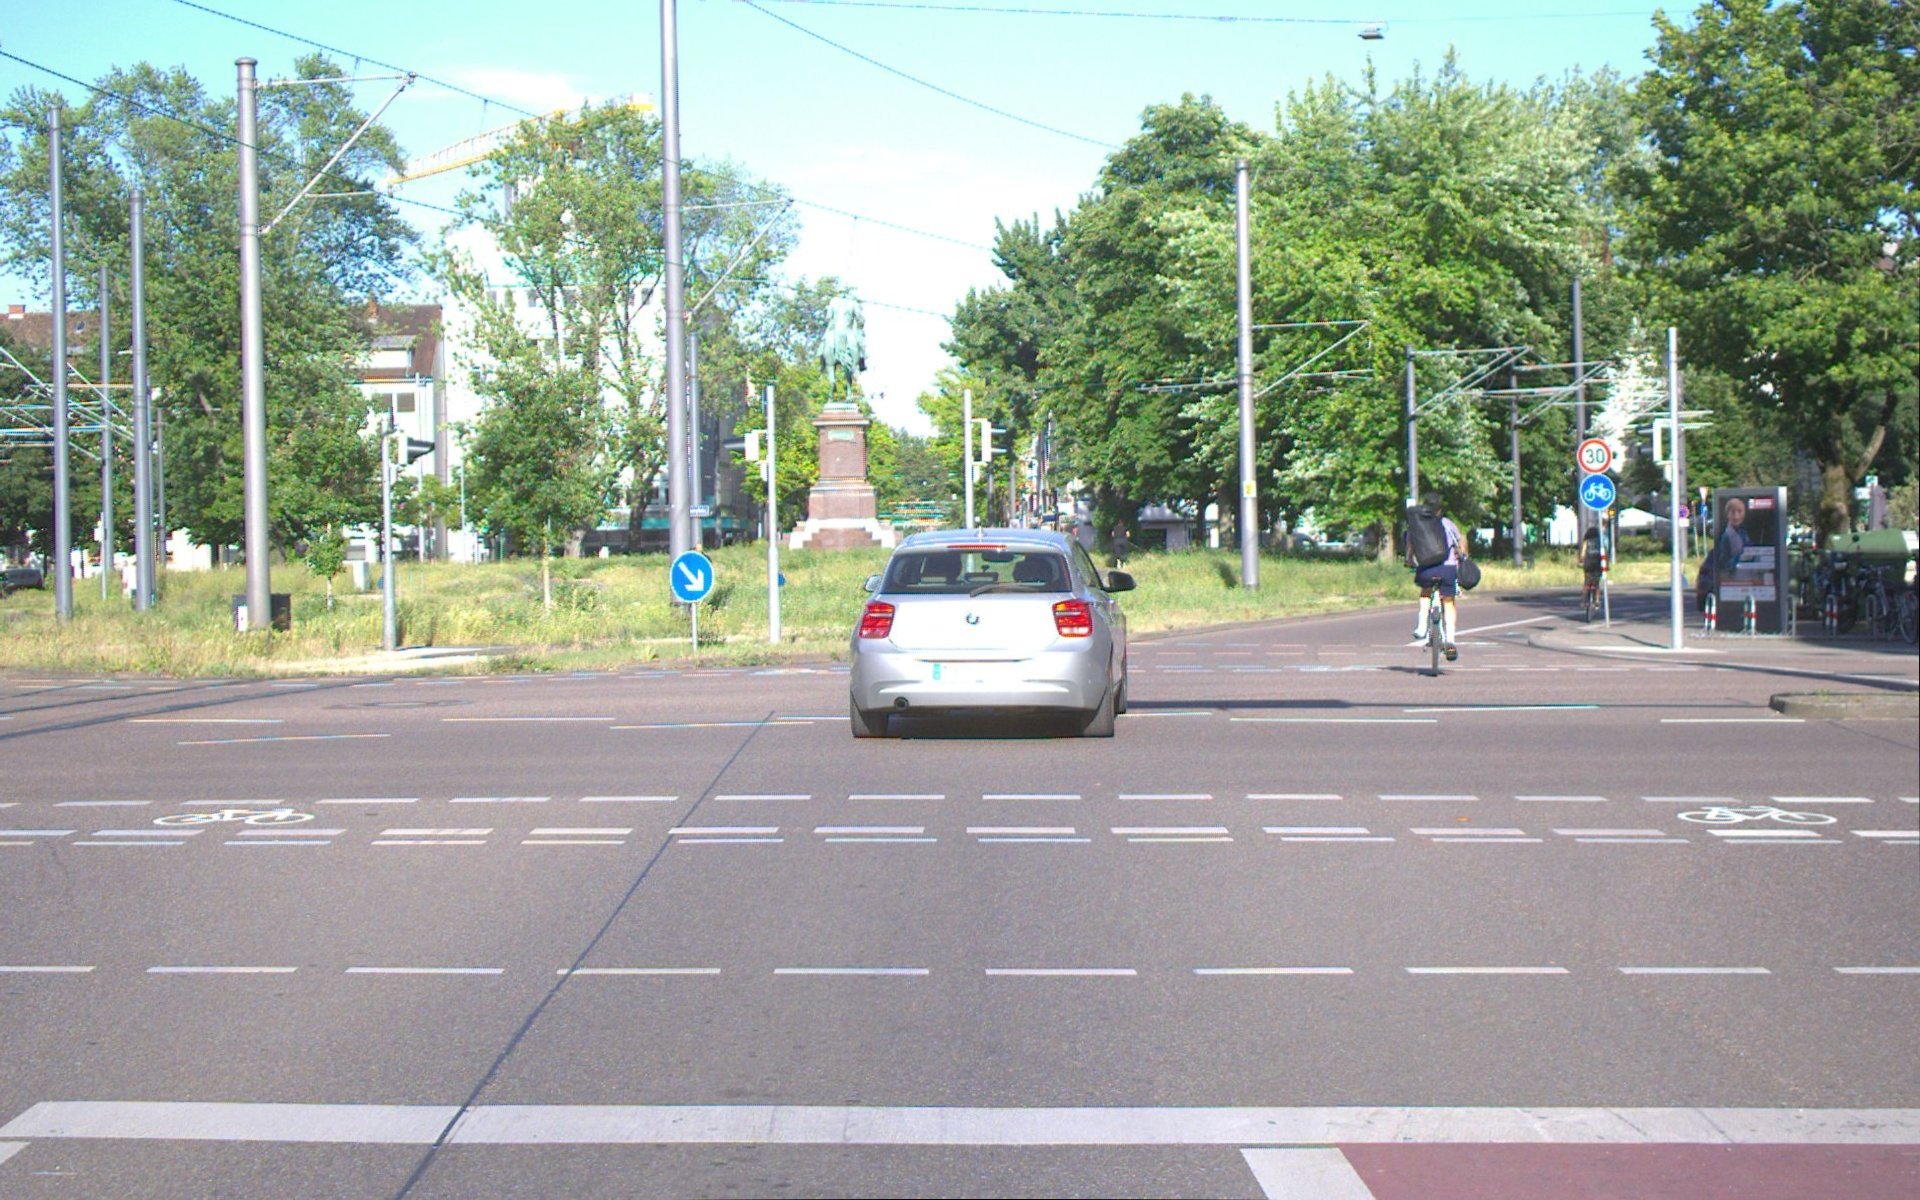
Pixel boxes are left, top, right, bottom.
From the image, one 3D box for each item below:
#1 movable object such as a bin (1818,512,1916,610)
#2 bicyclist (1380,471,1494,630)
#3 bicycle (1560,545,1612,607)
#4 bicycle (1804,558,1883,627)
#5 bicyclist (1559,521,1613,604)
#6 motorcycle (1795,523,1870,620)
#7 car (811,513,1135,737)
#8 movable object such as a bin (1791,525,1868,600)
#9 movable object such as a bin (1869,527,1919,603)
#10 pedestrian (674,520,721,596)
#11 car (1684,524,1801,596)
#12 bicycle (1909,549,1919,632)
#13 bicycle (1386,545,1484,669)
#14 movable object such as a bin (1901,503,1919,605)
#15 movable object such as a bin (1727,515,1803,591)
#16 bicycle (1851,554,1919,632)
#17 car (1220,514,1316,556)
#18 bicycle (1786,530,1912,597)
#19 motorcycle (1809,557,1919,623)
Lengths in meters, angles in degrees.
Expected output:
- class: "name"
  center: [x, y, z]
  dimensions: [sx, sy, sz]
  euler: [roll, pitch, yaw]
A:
- class: "movable object such as a bin"
  center: [15.306, -0.658, 58.039]
  dimensions: [1.380, 1.634, 1.008]
  euler: [0, 0, -1]
- class: "bicyclist"
  center: [4.560, -0.471, 32.886]
  dimensions: [1.038, 1.479, 0.988]
  euler: [1, 0, 8]
- class: "bicycle"
  center: [12.323, -0.476, 67.702]
  dimensions: [0.820, 1.181, 1.964]
  euler: [1, 1, 5]
- class: "bicycle"
  center: [12.981, -0.117, 50.558]
  dimensions: [0.475, 0.981, 2.120]
  euler: [1, 1, -4]
- class: "bicyclist"
  center: [12.336, -0.738, 67.776]
  dimensions: [0.939, 1.628, 0.935]
  euler: [1, 0, 5]
- class: "motorcycle"
  center: [14.113, -0.478, 55.687]
  dimensions: [0.802, 1.534, 2.545]
  euler: [1, 1, 6]
- class: "car"
  center: [0.188, 0.143, 24.325]
  dimensions: [1.994, 1.418, 4.196]
  euler: [1, 1, 4]
- class: "movable object such as a bin"
  center: [16.069, -0.693, 63.544]
  dimensions: [1.172, 1.351, 0.927]
  euler: [1, 0, 1]
- class: "movable object such as a bin"
  center: [17.562, -0.649, 63.595]
  dimensions: [1.213, 1.386, 0.959]
  euler: [1, 0, 1]
- class: "pedestrian"
  center: [-5.779, -0.921, 75.741]
  dimensions: [0.735, 1.665, 0.743]
  euler: [0, 1, 25]
- class: "car"
  center: [17.008, -0.890, 74.556]
  dimensions: [1.767, 1.433, 4.578]
  euler: [-1, 1, 22]
- class: "bicycle"
  center: [14.656, -0.137, 51.050]
  dimensions: [0.532, 1.240, 1.848]
  euler: [1, 1, -2]
- class: "bicycle"
  center: [4.562, 0.058, 32.913]
  dimensions: [0.886, 1.132, 2.228]
  euler: [1, 1, 9]
- class: "movable object such as a bin"
  center: [16.637, -0.785, 57.958]
  dimensions: [1.255, 1.703, 0.945]
  euler: [-1, 0, -1]
- class: "movable object such as a bin"
  center: [14.952, -0.863, 63.827]
  dimensions: [1.281, 1.386, 0.921]
  euler: [1, 0, 18]
- class: "bicycle"
  center: [13.689, -0.107, 50.559]
  dimensions: [0.475, 1.113, 2.120]
  euler: [1, 1, -4]
- class: "car"
  center: [17.610, -3.710, 196.866]
  dimensions: [5.336, 2.306, 2.000]
  euler: [1, 0, 1]
- class: "bicycle"
  center: [16.972, -0.700, 65.653]
  dimensions: [0.897, 1.246, 2.168]
  euler: [-2, 1, -44]
- class: "motorcycle"
  center: [14.408, -0.157, 53.669]
  dimensions: [2.096, 1.018, 0.762]
  euler: [0, 1, 1]
